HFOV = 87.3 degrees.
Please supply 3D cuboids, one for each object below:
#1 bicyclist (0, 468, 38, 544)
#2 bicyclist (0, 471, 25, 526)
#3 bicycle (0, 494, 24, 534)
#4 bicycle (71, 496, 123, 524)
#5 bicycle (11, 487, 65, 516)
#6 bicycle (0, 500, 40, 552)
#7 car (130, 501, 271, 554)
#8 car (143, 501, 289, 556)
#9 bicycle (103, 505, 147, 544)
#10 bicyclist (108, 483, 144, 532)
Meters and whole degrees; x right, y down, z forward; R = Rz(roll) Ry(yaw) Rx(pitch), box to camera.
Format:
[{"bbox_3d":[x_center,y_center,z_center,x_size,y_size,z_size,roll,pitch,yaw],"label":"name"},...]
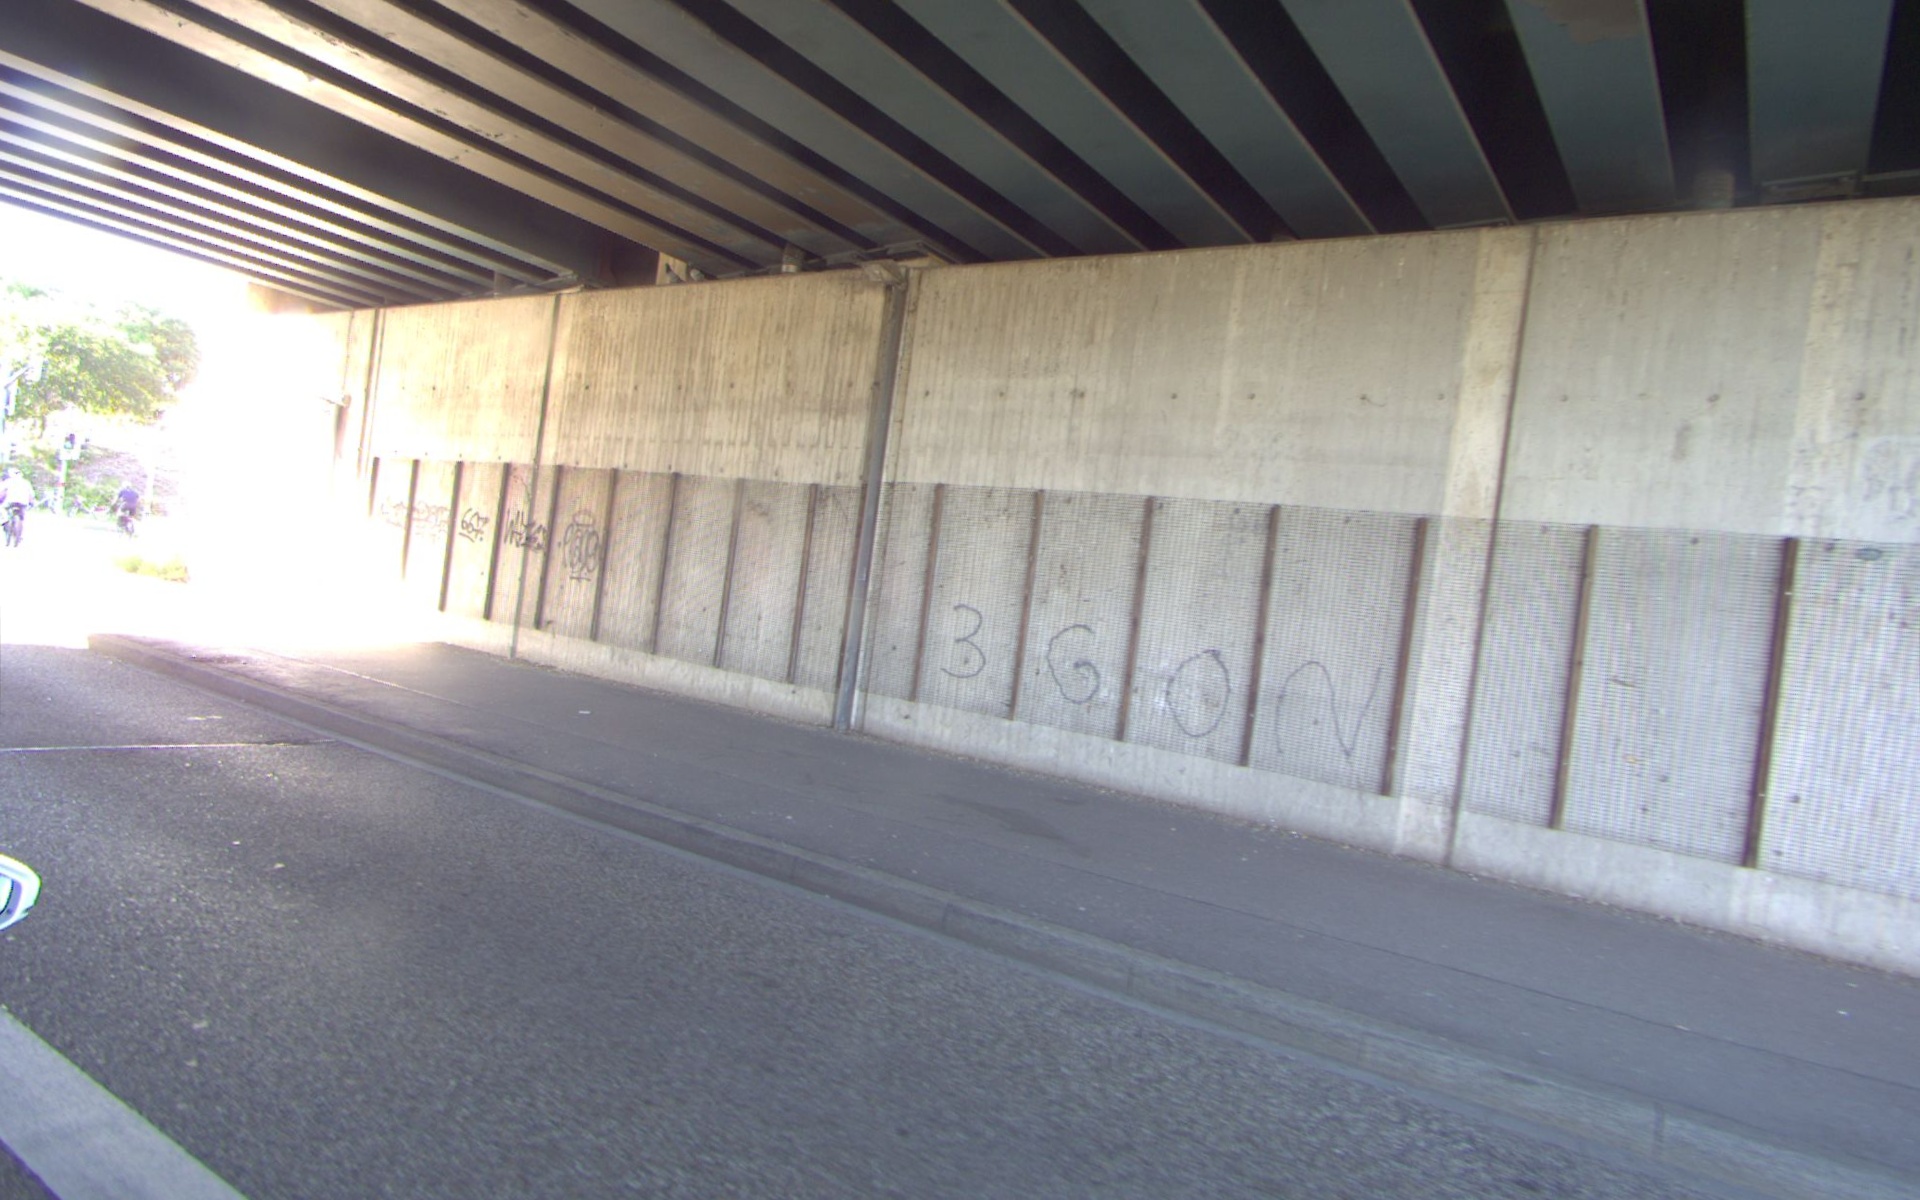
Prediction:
[{"bbox_3d":[-21.020,-2.081,22.342,0.758,1.566,0.591,6,-1,41],"label":"bicyclist"},{"bbox_3d":[-27.449,-2.918,28.888,0.741,1.491,0.664,6,-2,42],"label":"bicyclist"},{"bbox_3d":[-27.583,-2.502,28.970,2.028,1.035,0.670,5,-2,43],"label":"bicycle"},{"bbox_3d":[-40.957,-4.258,47.768,0.586,1.035,1.743,6,-2,42],"label":"bicycle"},{"bbox_3d":[-42.868,-4.561,46.788,0.585,1.035,1.744,6,-2,40],"label":"bicycle"},{"bbox_3d":[-20.958,-1.647,22.275,1.726,1.035,0.591,5,-2,42],"label":"bicycle"},{"bbox_3d":[-33.220,-3.145,44.132,1.801,1.531,4.548,6,-3,39],"label":"car"},{"bbox_3d":[-31.270,-2.967,42.389,1.801,1.531,4.548,6,-3,39],"label":"car"},{"bbox_3d":[-27.788,-2.511,33.455,1.723,1.036,0.667,10,2,37],"label":"bicycle"},{"bbox_3d":[-27.763,-3.084,33.484,0.609,1.498,0.649,8,0,36],"label":"bicyclist"}]
